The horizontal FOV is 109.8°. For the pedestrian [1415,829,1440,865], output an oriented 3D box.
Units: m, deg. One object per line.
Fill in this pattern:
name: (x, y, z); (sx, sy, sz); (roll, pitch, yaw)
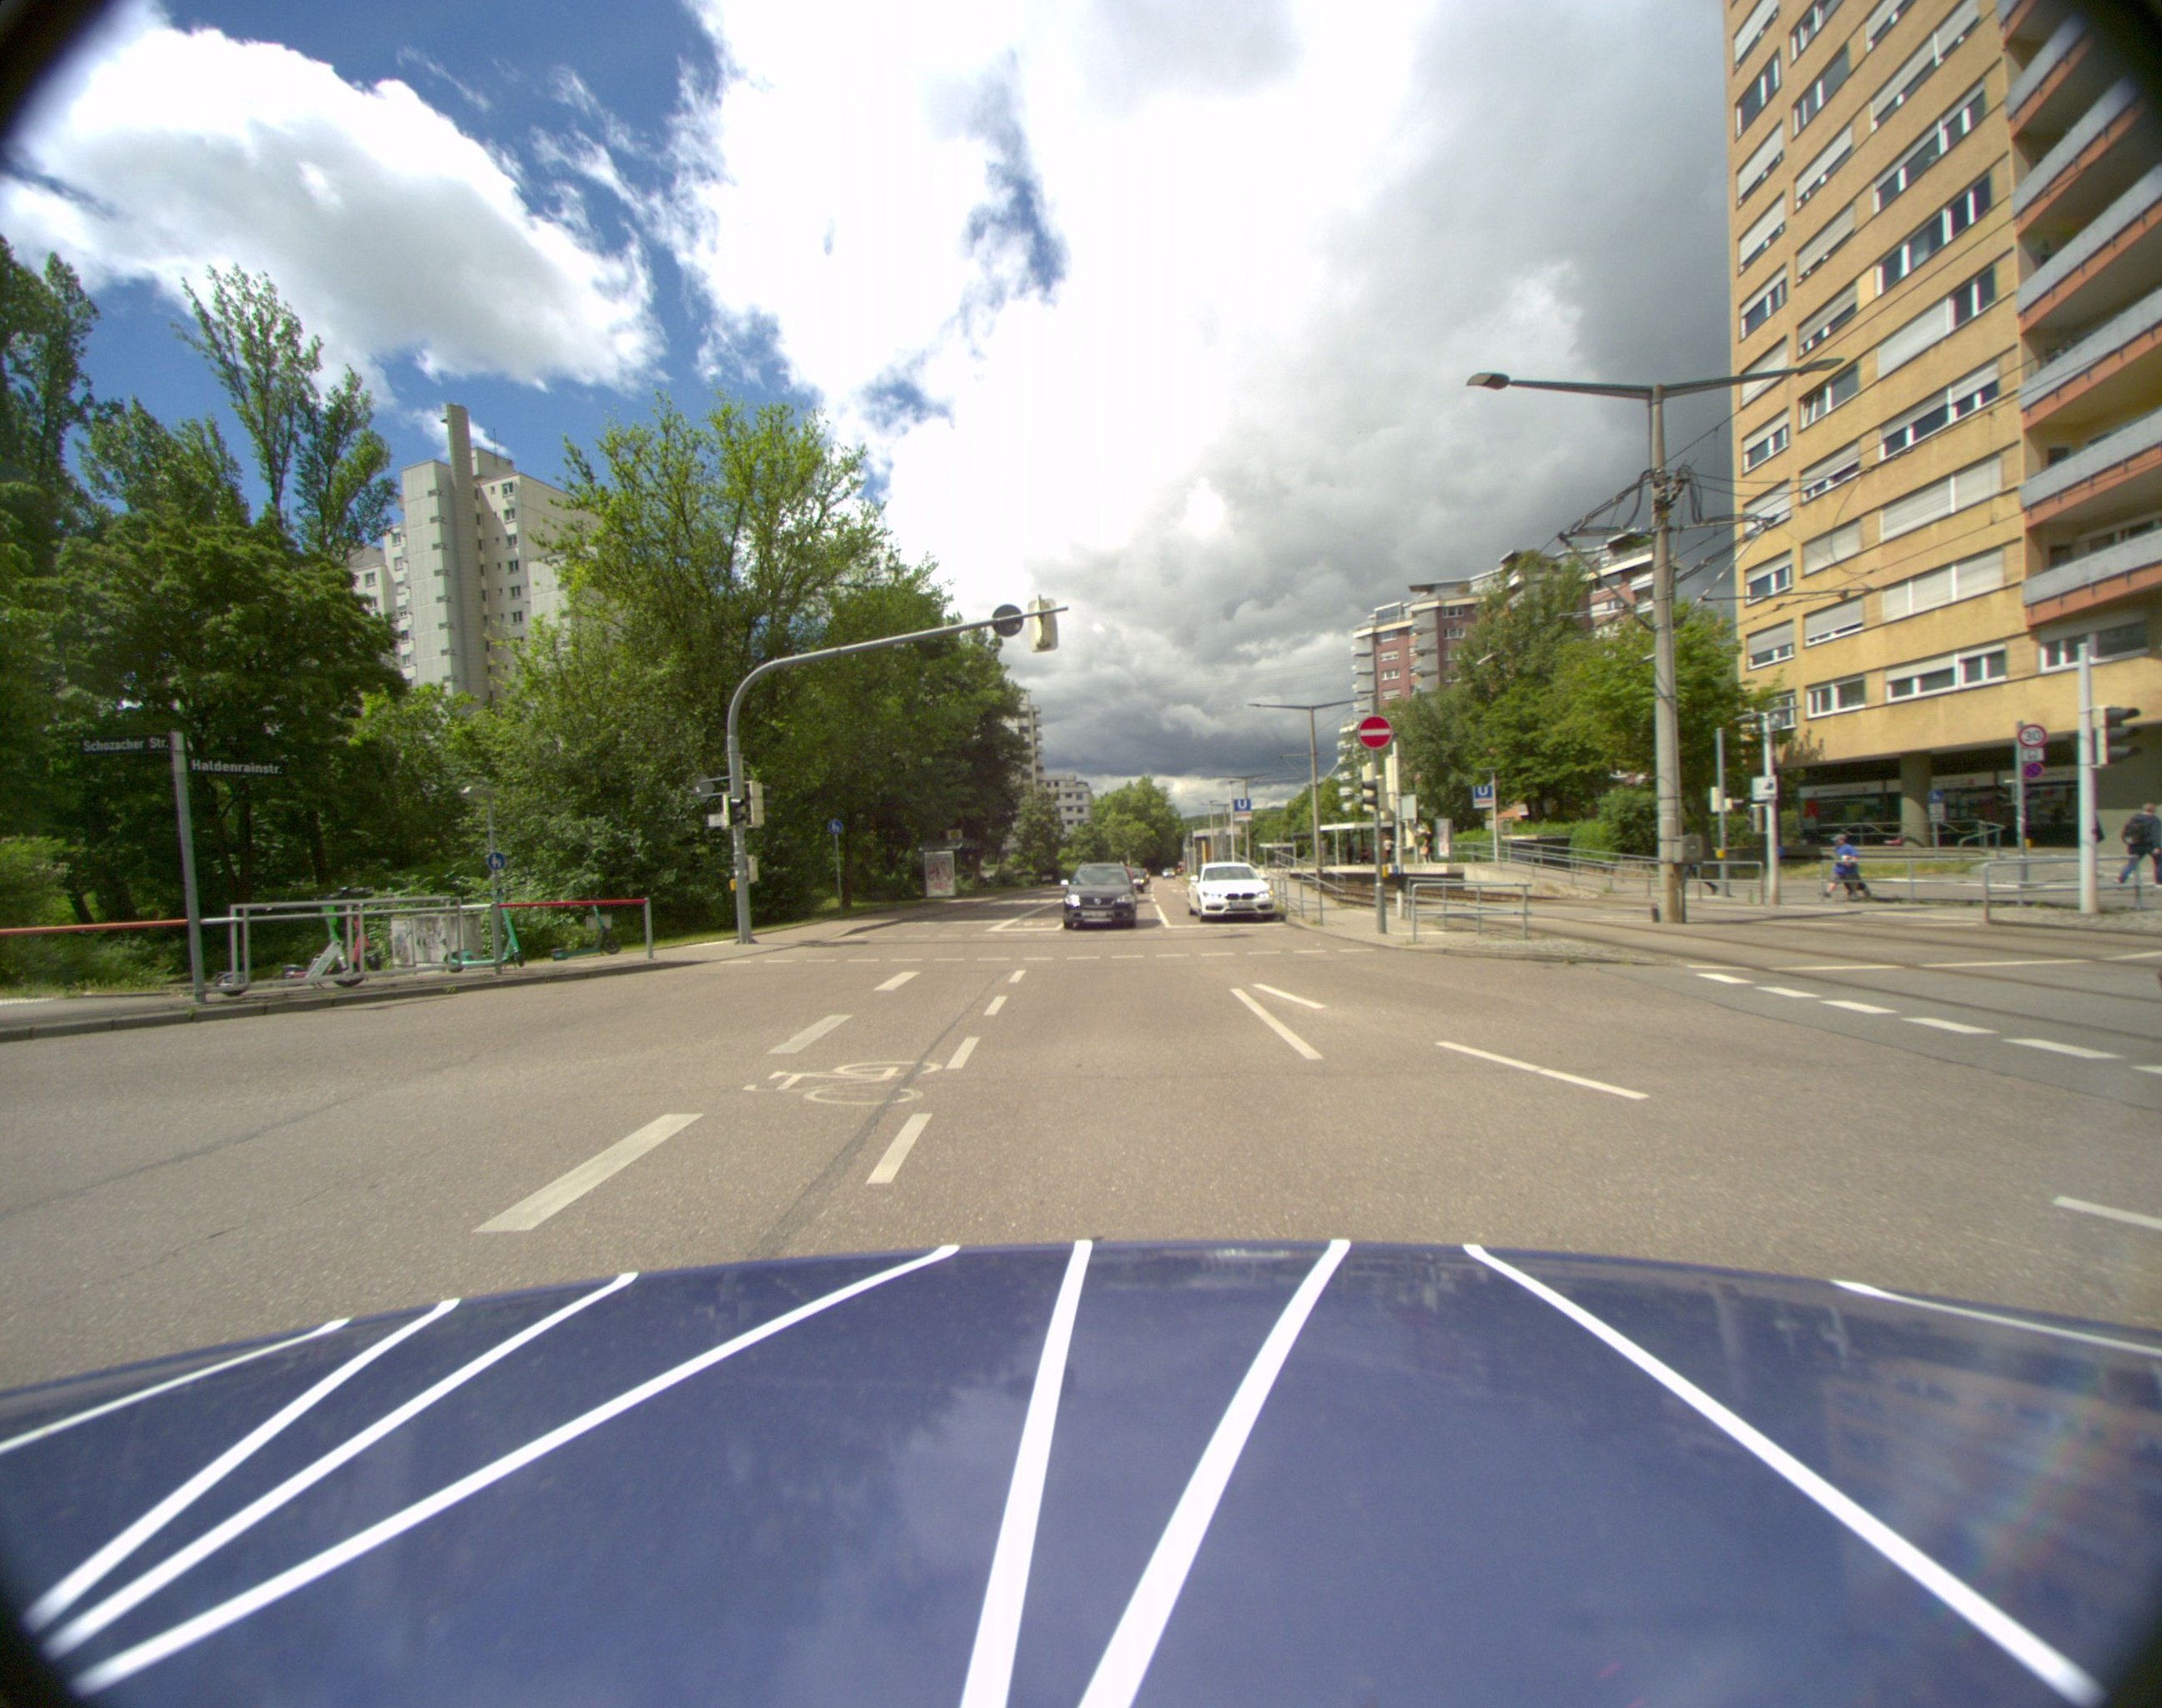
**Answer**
pedestrian: (17.557, -0.351, 38.528); (0.865, 1.763, 0.747); (-2, 0, 3)

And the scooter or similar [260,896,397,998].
scooter or similar: (-9.867, 1.197, 9.991); (1.185, 1.228, 0.479); (-2, 0, -9)

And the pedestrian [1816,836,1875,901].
pedestrian: (18.455, 0.350, 18.347); (0.720, 1.504, 0.649); (-2, 0, 4)

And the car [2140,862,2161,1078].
car: (8.234, 0.709, 2.887); (1.981, 1.390, 4.662); (-2, 0, -44)

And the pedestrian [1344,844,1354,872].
pedestrian: (19.258, 0.310, 54.625); (0.517, 2.002, 0.558); (-2, 0, 4)

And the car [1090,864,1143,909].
car: (1.331, 1.236, 30.201); (1.819, 1.483, 3.999); (-4, 1, 0)

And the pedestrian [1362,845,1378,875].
pedestrian: (18.803, 0.360, 49.409); (0.771, 1.920, 0.573); (-2, 0, 2)

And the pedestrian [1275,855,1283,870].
pedestrian: (22.696, 0.970, 87.123); (0.774, 1.696, 0.767); (-2, 0, 12)

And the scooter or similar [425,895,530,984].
scooter or similar: (-8.533, 1.204, 10.757); (1.170, 1.188, 0.449); (-2, 0, 7)

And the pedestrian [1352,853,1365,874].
pedestrian: (18.821, 0.642, 51.471); (0.645, 1.406, 0.658); (-2, 0, 4)

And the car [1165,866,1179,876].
car: (12.845, 2.355, 107.122); (1.804, 1.207, 4.024); (-2, 0, 7)

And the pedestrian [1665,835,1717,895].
pedestrian: (17.068, 0.302, 21.288); (0.720, 1.588, 0.912); (-7, 0, 17)

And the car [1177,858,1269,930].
car: (3.500, 0.926, 19.478); (1.793, 1.443, 4.276); (-3, 1, 4)

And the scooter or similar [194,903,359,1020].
scooter or similar: (-9.436, 1.235, 8.961); (1.212, 1.228, 0.478); (-2, 0, -25)

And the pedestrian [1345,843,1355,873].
pedestrian: (19.189, 0.268, 54.214); (0.532, 2.129, 0.608); (-2, 0, 7)

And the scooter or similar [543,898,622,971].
scooter or similar: (-9.951, 1.594, 15.208); (1.212, 1.284, 0.534); (-5, -2, -31)

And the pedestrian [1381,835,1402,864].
pedestrian: (17.585, -0.242, 43.091); (0.865, 1.597, 0.747); (-2, 0, 3)

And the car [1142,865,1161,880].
car: (7.302, 1.881, 78.341); (1.845, 1.409, 4.002); (-2, 0, 7)

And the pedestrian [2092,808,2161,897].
pedestrian: (23.704, -0.043, 17.025); (0.920, 1.923, 0.853); (-2, 0, 3)

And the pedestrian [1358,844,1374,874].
pedestrian: (18.824, 0.332, 50.172); (0.780, 2.002, 0.584); (-2, 0, 4)

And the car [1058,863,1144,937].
car: (0.577, 1.015, 18.258); (1.681, 1.529, 3.795); (-2, 0, 7)
